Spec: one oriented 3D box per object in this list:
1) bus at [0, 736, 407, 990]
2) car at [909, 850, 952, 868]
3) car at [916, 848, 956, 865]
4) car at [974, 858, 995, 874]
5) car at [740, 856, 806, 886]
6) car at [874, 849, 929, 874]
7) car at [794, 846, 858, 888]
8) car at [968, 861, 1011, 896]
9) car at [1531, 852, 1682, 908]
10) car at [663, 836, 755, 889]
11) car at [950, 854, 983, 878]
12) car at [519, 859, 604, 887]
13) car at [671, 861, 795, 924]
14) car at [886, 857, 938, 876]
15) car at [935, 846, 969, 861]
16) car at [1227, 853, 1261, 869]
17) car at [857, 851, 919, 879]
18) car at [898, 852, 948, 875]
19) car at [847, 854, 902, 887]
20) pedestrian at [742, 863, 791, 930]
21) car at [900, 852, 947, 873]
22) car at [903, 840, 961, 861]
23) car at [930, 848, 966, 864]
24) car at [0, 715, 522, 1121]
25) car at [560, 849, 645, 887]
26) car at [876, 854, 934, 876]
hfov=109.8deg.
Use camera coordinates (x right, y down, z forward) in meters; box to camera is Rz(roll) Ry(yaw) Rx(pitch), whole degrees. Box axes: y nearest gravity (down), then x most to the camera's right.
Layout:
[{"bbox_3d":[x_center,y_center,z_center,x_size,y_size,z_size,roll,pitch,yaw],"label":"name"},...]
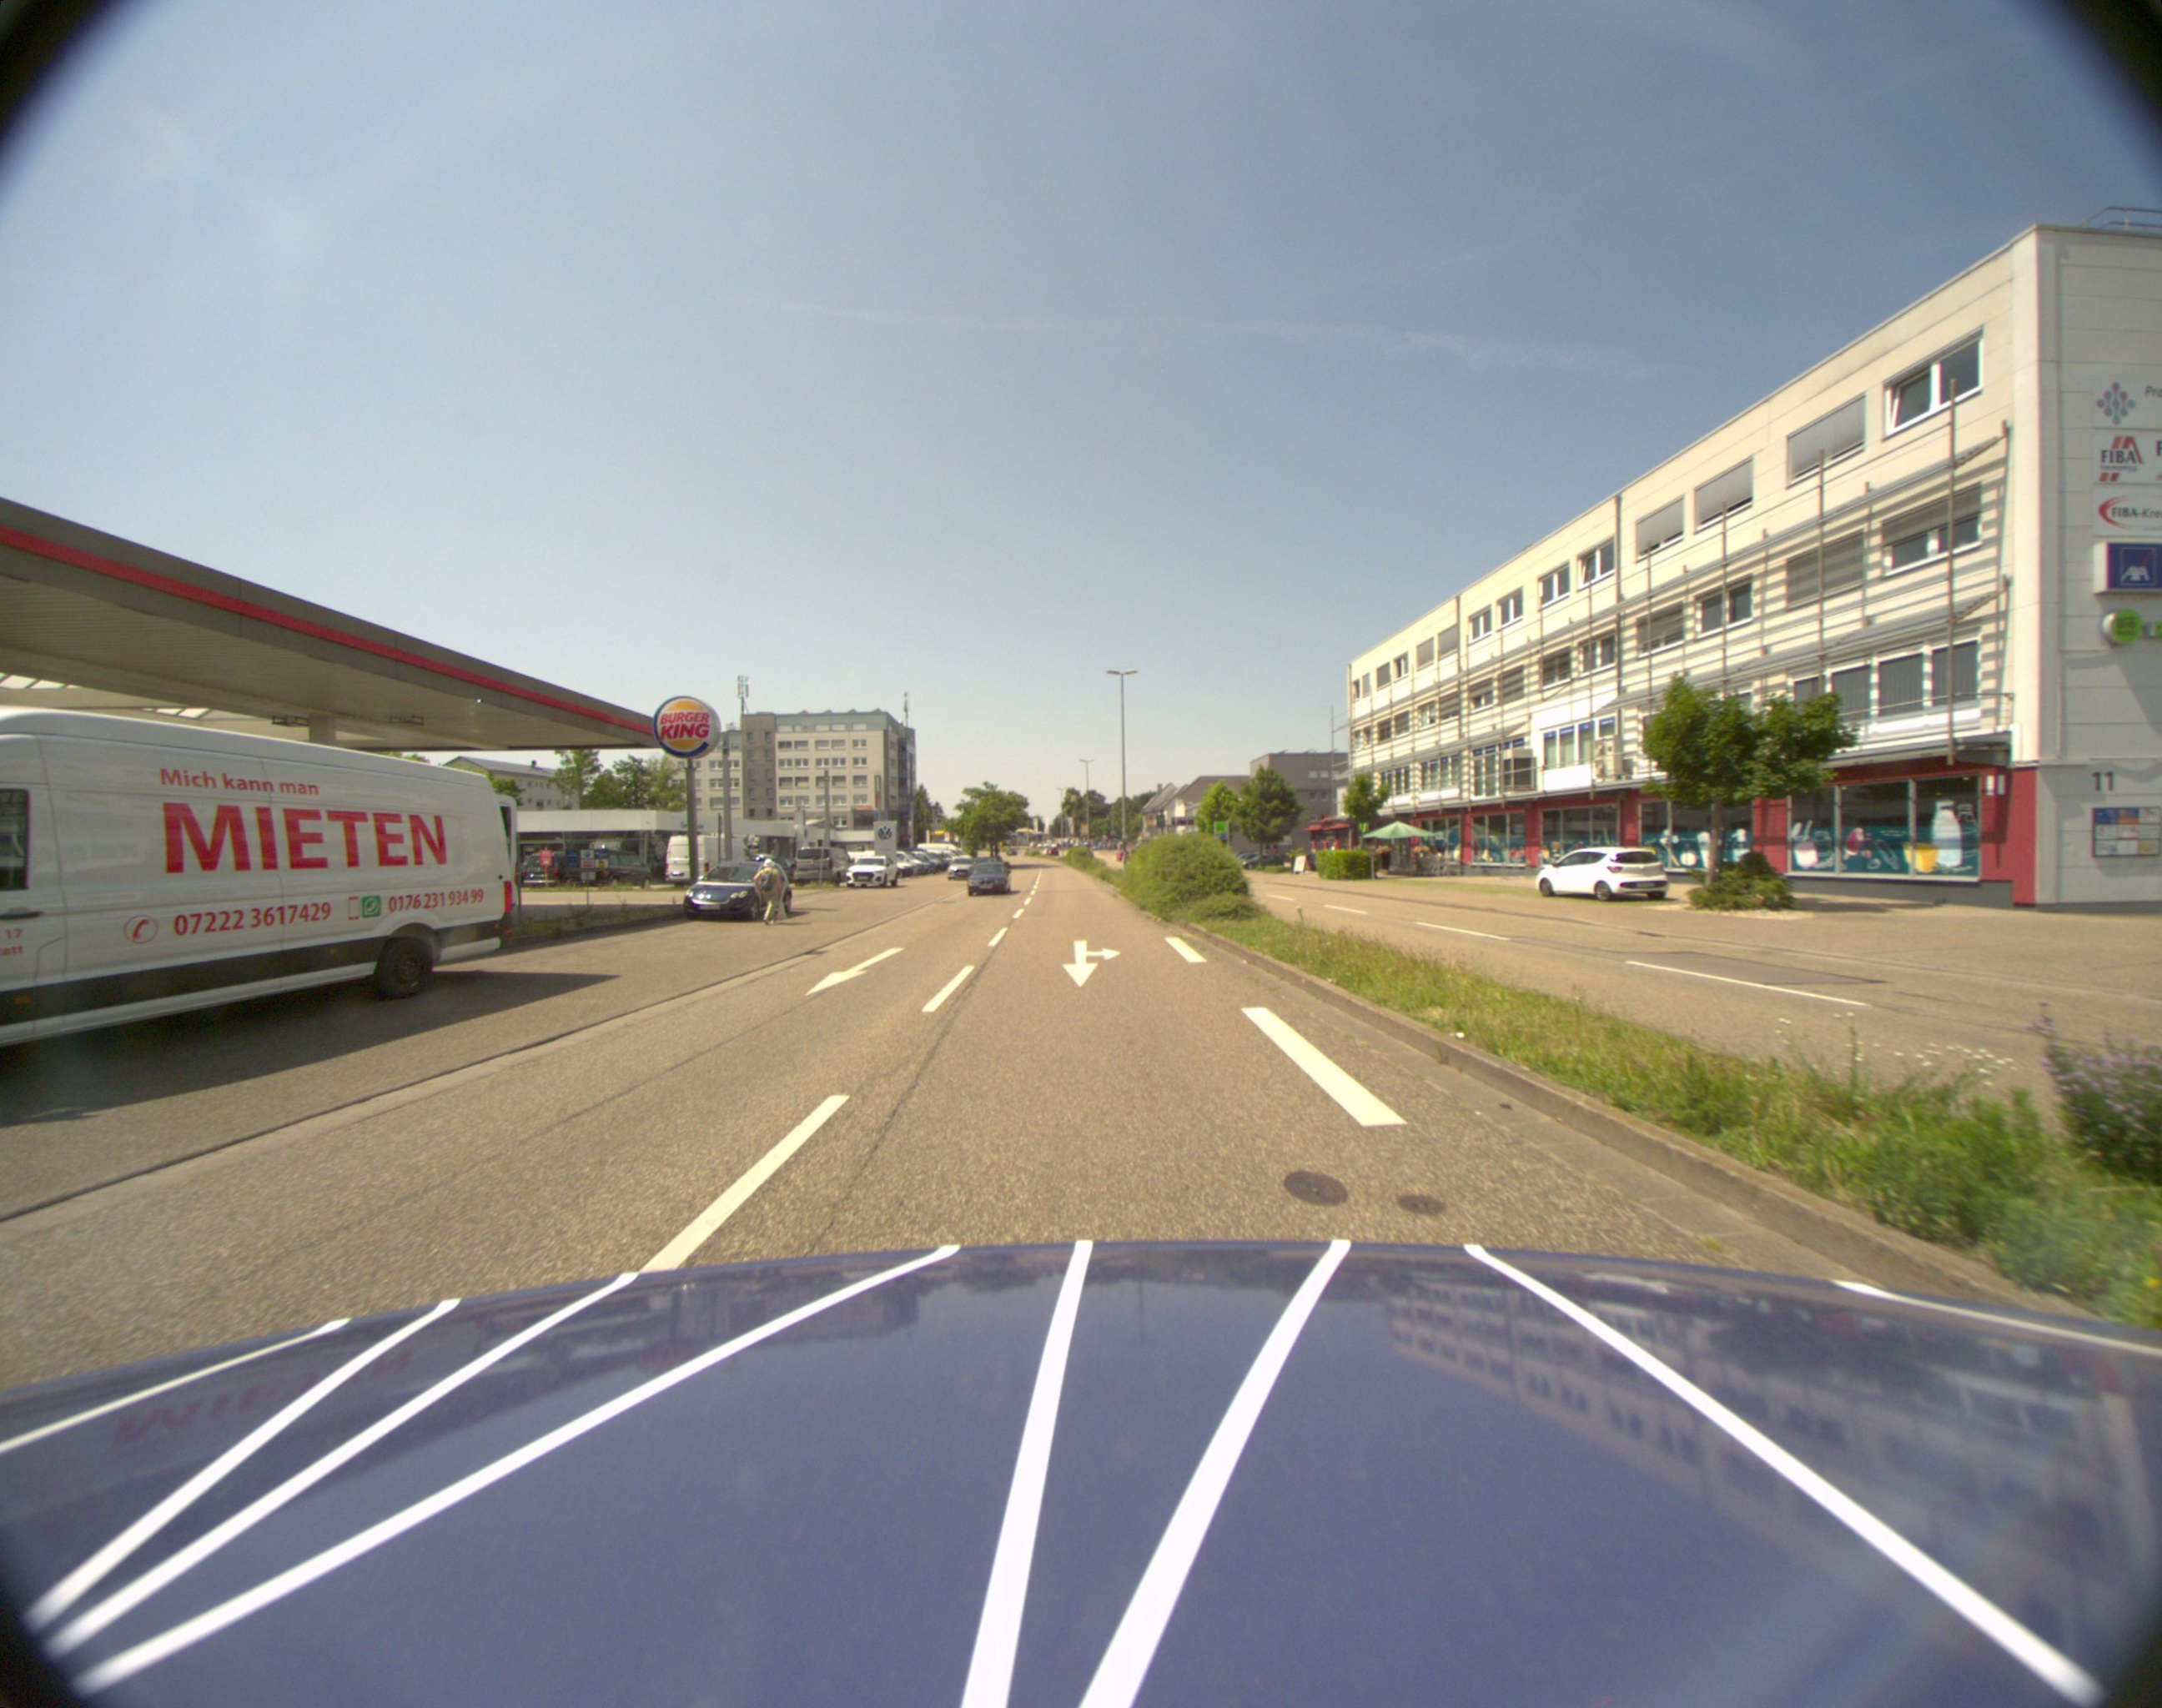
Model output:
[{"bbox_3d":[-14.707,0.112,10.430,2.756,3.134,9.078,0,0,0],"label":"bus"},{"bbox_3d":[-14.946,0.496,75.573,3.999,1.755,1.724,0,0,-7],"label":"car"},{"bbox_3d":[-15.252,0.297,80.130,3.999,1.755,1.724,0,0,-7],"label":"car"},{"bbox_3d":[-8.884,1.098,70.126,1.562,1.390,4.214,0,0,-3],"label":"car"},{"bbox_3d":[-15.369,0.810,38.083,1.808,1.368,3.999,0,0,-2],"label":"car"},{"bbox_3d":[-14.028,0.551,59.418,3.999,1.906,1.724,0,0,-7],"label":"car"},{"bbox_3d":[-12.752,0.609,38.212,1.999,2.002,3.999,0,0,-2],"label":"car"},{"bbox_3d":[-3.935,1.035,33.266,1.632,1.331,3.755,-2,0,-4],"label":"car"},{"bbox_3d":[15.172,0.693,22.191,1.696,1.440,3.664,-2,0,-3],"label":"car"},{"bbox_3d":[-18.249,0.388,37.617,2.059,2.421,5.573,0,0,-4],"label":"car"},{"bbox_3d":[-7.766,0.806,51.824,1.867,1.550,3.999,0,0,-3],"label":"car"},{"bbox_3d":[-25.904,0.936,38.029,1.753,1.297,3.781,0,0,-2],"label":"car"},{"bbox_3d":[-9.119,0.954,20.271,1.681,1.440,3.840,1,0,-3],"label":"car"},{"bbox_3d":[-13.747,1.009,61.994,3.999,1.440,1.724,0,0,-7],"label":"car"},{"bbox_3d":[-15.605,-0.067,92.050,3.999,1.755,1.724,0,0,-7],"label":"car"},{"bbox_3d":[15.006,0.639,70.032,2.737,1.404,1.445,-1,0,-2],"label":"car"},{"bbox_3d":[-13.596,0.772,53.733,3.999,1.907,1.724,0,0,-7],"label":"car"},{"bbox_3d":[-13.390,0.786,64.382,3.999,1.837,1.724,0,0,-7],"label":"car"},{"bbox_3d":[-10.397,0.805,38.518,1.860,1.572,3.999,1,0,-2],"label":"car"},{"bbox_3d":[-7.662,1.025,18.548,0.703,1.572,0.821,2,0,14],"label":"pedestrian"},{"bbox_3d":[-13.962,0.755,67.573,3.999,1.775,1.724,0,0,-7],"label":"car"},{"bbox_3d":[-18.601,-0.392,95.045,6.887,2.589,1.724,0,0,-3],"label":"car"},{"bbox_3d":[-15.161,0.196,86.711,3.999,1.755,1.724,0,0,-7],"label":"car"},{"bbox_3d":[-8.474,0.413,6.551,2.183,2.757,7.275,1,0,-3],"label":"car"},{"bbox_3d":[-23.573,0.657,37.601,1.753,1.783,3.999,0,0,-2],"label":"car"},{"bbox_3d":[-13.134,0.787,56.912,3.999,1.568,1.724,0,0,-7],"label":"car"}]
